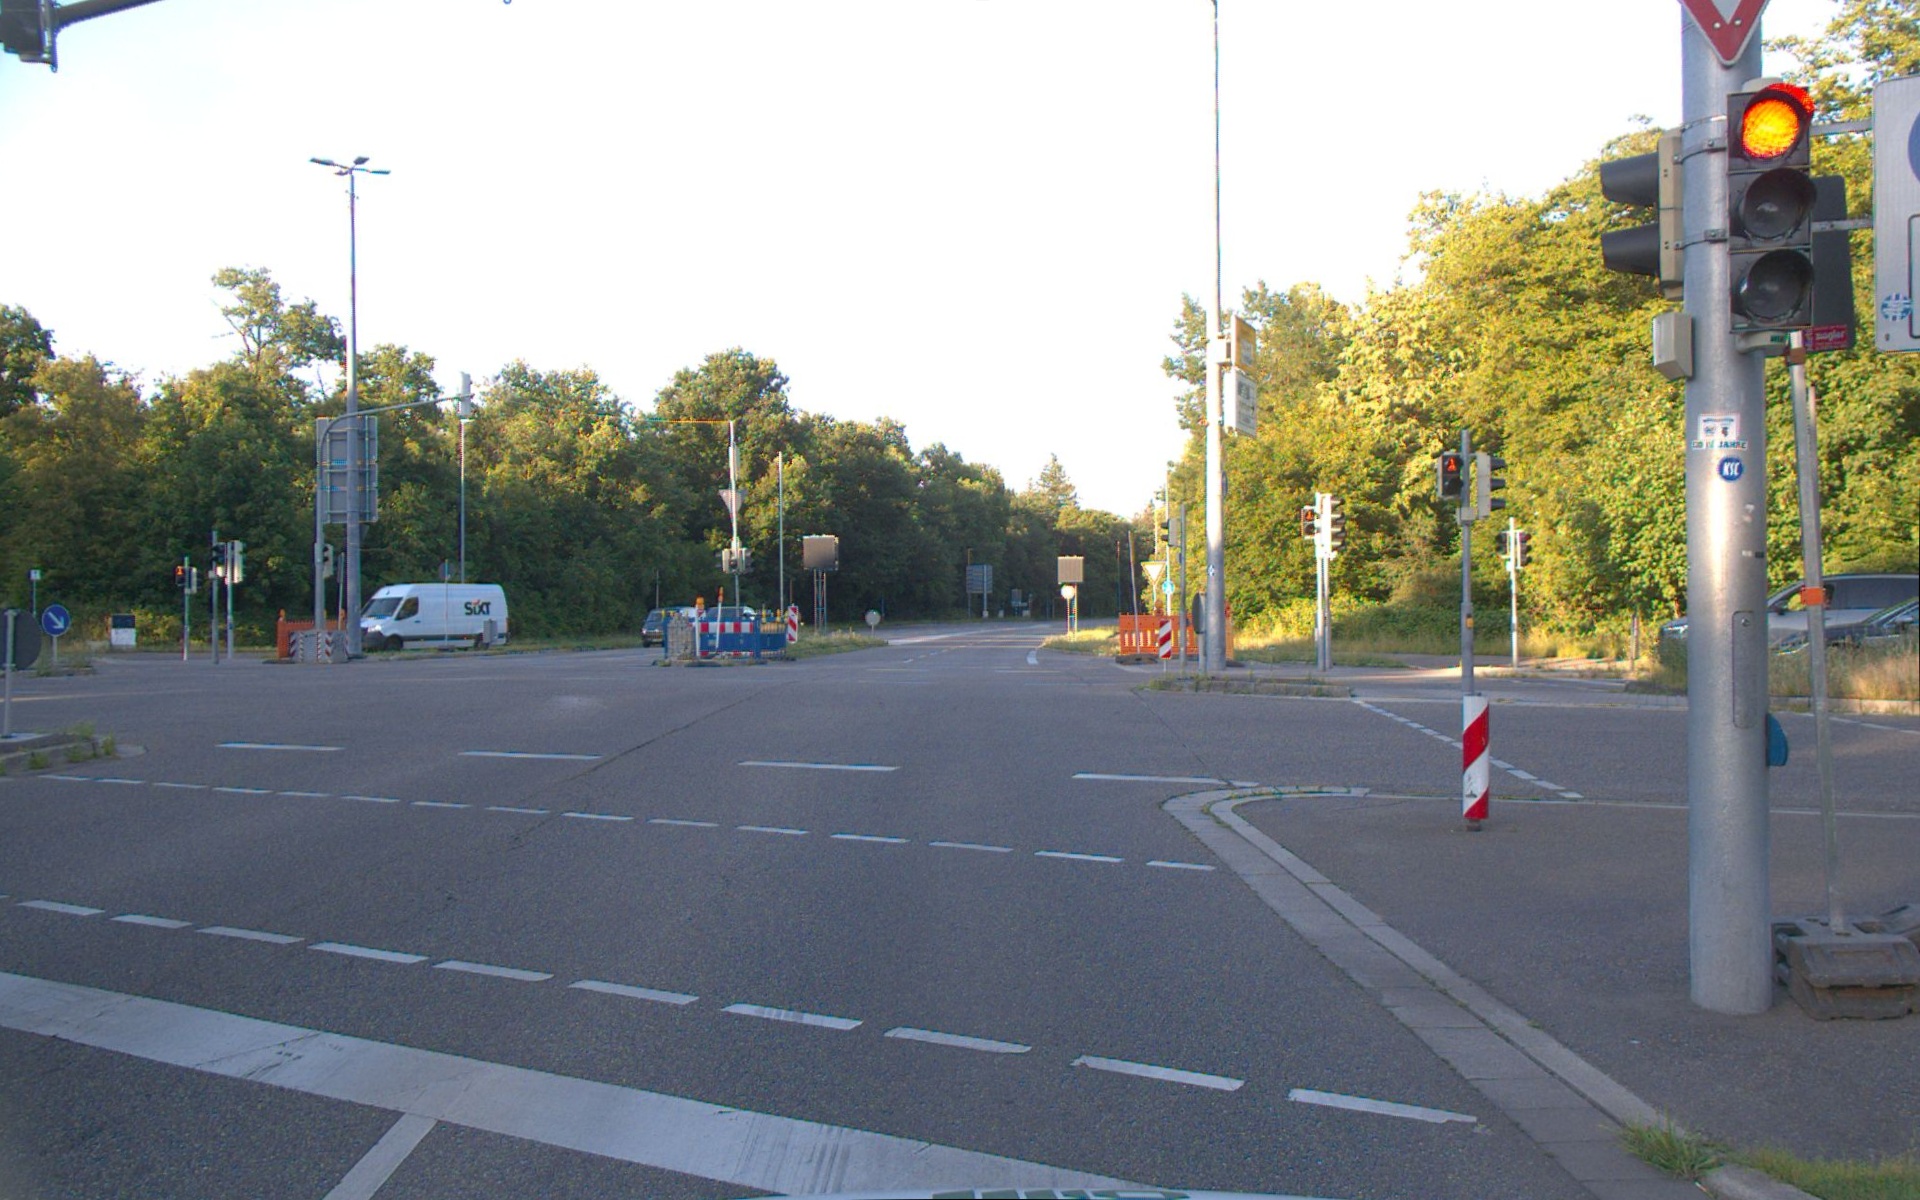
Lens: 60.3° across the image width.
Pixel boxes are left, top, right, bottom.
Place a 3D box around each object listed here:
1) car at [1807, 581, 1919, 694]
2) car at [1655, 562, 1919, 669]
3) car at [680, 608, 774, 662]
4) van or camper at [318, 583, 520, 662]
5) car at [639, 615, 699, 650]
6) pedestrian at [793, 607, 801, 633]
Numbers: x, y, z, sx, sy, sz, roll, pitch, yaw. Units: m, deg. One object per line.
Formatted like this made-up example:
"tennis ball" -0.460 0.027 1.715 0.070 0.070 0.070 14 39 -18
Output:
"car" 13.800 0.491 22.603 3.783 1.515 1.771 0 0 22
"car" 13.746 0.243 26.493 4.716 1.626 2.000 -1 0 21
"car" -7.947 1.177 56.808 1.951 1.668 4.004 -2 1 11
"van or camper" -19.641 0.775 60.496 2.829 2.699 7.114 0 0 27
"car" -14.492 1.594 82.535 1.951 1.668 4.003 0 0 5
"pedestrian" -12.908 1.614 131.164 0.511 2.049 0.600 1 -1 -1
